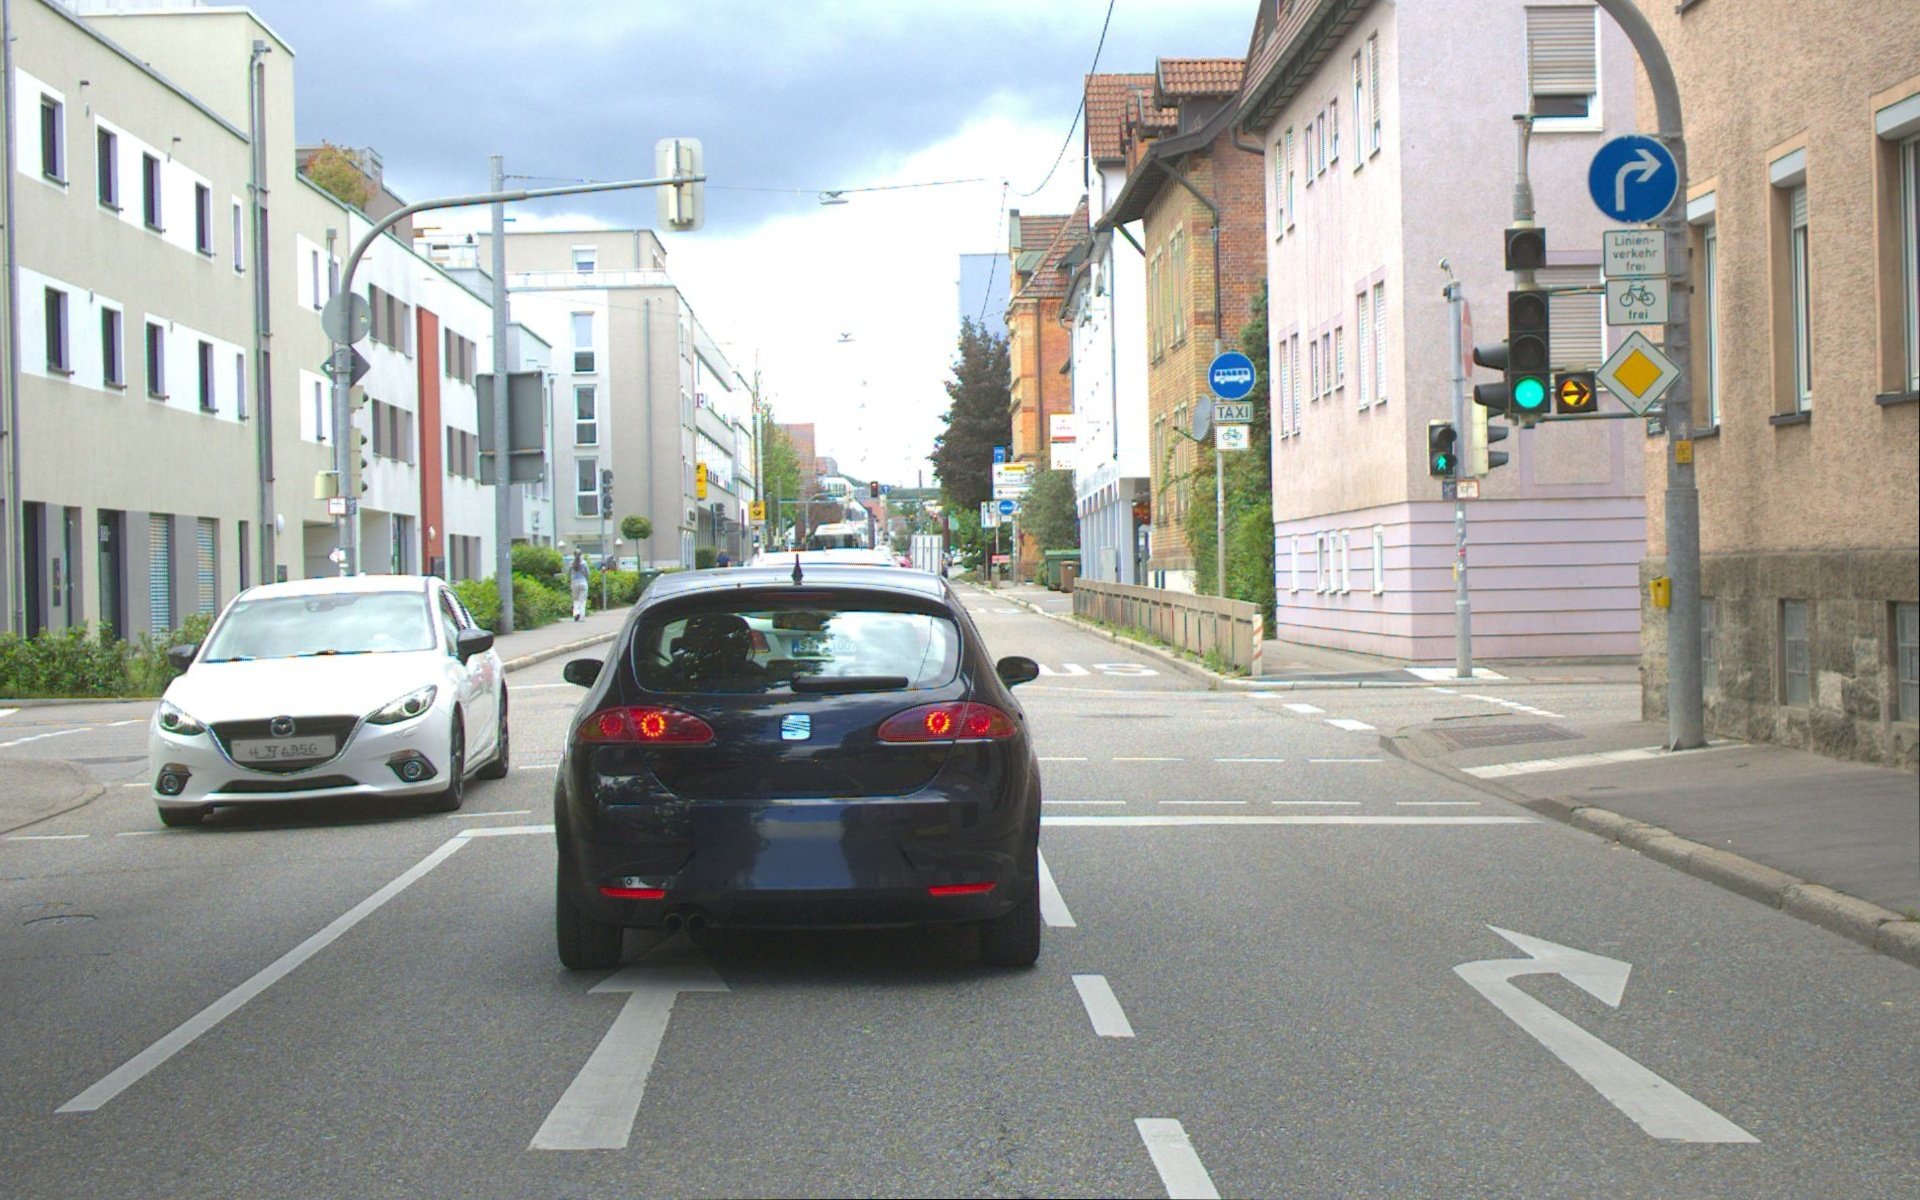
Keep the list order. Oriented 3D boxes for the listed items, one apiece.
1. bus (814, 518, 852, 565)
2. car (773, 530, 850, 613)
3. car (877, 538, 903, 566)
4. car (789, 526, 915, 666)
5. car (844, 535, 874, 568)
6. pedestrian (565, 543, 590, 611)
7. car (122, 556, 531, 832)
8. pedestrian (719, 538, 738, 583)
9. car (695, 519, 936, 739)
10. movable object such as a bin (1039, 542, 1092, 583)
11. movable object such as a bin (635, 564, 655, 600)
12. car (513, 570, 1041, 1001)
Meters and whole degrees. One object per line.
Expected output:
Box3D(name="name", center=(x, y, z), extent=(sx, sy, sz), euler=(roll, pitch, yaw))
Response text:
Box3D(name="bus", center=(-8.024, -3.662, 218.008), extent=(2.210, 2.876, 8.920), euler=(0, 0, -1))
Box3D(name="car", center=(-3.070, -0.590, 71.401), extent=(1.531, 1.687, 3.693), euler=(0, 0, -2))
Box3D(name="car", center=(-4.257, -2.946, 209.954), extent=(1.531, 1.687, 3.693), euler=(-1, 1, -1))
Box3D(name="car", center=(-1.357, -0.060, 43.493), extent=(1.531, 1.687, 3.693), euler=(0, 0, -2))
Box3D(name="car", center=(-5.311, -2.548, 181.418), extent=(1.531, 1.687, 3.693), euler=(-1, 1, -1))
Box3D(name="pedestrian", center=(-8.714, -0.513, 78.272), extent=(0.526, 1.542, 0.541), euler=(0, 0, -1))
Box3D(name="car", center=(-3.891, 0.520, 21.795), extent=(1.767, 1.465, 4.227), euler=(-4, 0, -1))
Box3D(name="pedestrian", center=(-8.996, -1.541, 133.575), extent=(0.730, 1.723, 0.859), euler=(0, 0, -2))
Box3D(name="car", center=(-1.162, 0.209, 28.394), extent=(1.842, 1.687, 4.000), euler=(0, 0, -2))
Box3D(name="movable object such as a bin", center=(3.714, -1.321, 121.185), extent=(1.818, 1.432, 1.993), euler=(0, 0, 0))
Box3D(name="movable object such as a bin", center=(-9.521, -0.547, 103.930), extent=(0.549, 1.075, 0.612), euler=(0, 0, 0))
Box3D(name="car", center=(-0.653, 0.605, 13.481), extent=(1.759, 1.437, 4.000), euler=(0, 0, -1))
